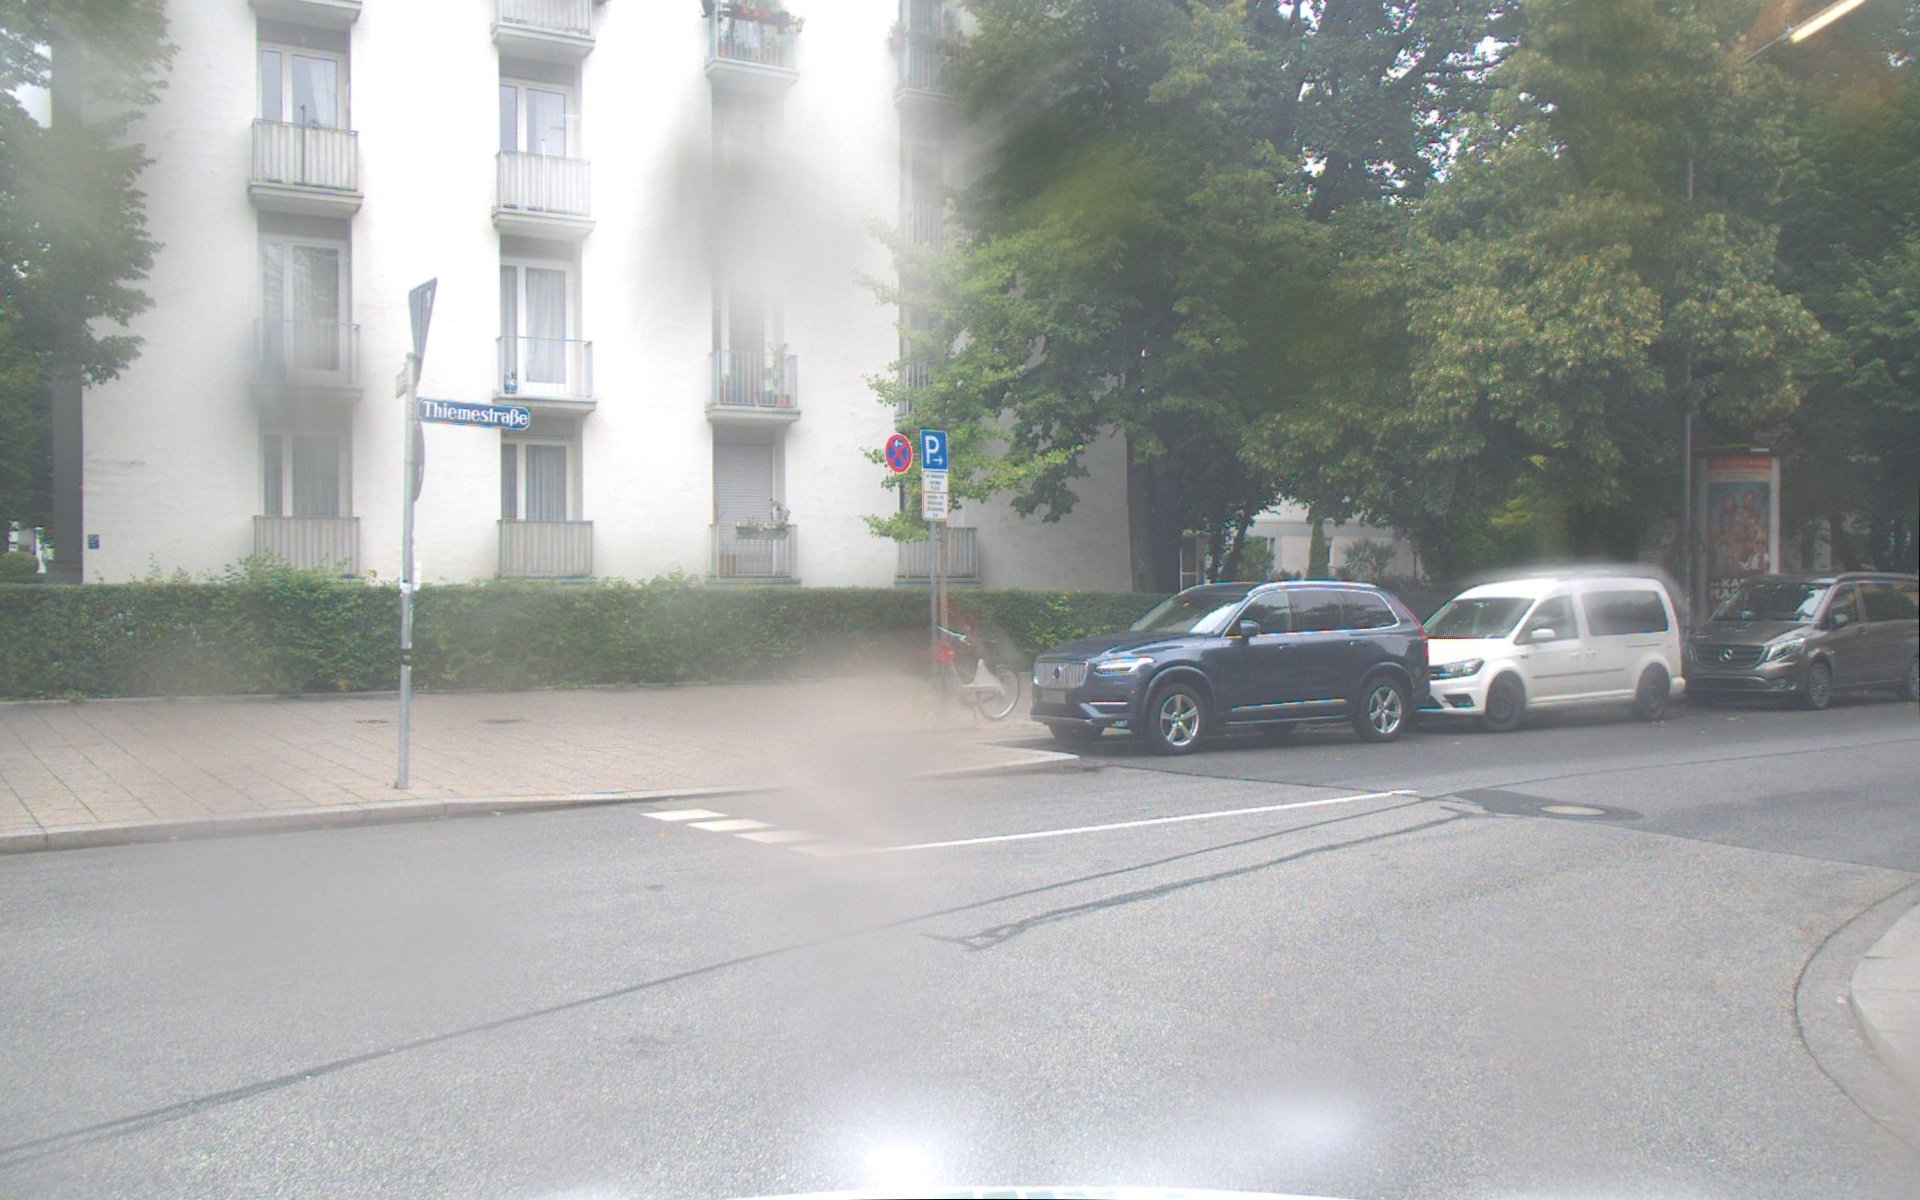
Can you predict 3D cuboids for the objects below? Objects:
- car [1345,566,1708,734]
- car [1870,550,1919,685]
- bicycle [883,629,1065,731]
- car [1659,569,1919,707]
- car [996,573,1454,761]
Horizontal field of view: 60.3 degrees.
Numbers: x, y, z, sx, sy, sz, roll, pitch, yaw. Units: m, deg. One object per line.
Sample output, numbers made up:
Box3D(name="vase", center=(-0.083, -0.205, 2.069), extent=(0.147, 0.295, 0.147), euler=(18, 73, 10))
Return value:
Box3D(name="car", center=(7.300, 0.548, 21.138), extent=(4.809, 1.928, 1.910), euler=(-1, 1, -34))
Box3D(name="car", center=(18.438, 0.273, 29.115), extent=(5.130, 2.290, 2.094), euler=(-1, 1, -33))
Box3D(name="bicycle", center=(0.170, 0.896, 19.124), extent=(1.946, 1.070, 0.904), euler=(0, 0, -32))
Box3D(name="car", center=(12.889, 0.491, 24.833), extent=(4.923, 1.891, 2.048), euler=(-1, 1, -33))
Box3D(name="car", center=(2.956, 0.616, 18.059), extent=(4.845, 1.798, 2.048), euler=(-1, 1, -33))
